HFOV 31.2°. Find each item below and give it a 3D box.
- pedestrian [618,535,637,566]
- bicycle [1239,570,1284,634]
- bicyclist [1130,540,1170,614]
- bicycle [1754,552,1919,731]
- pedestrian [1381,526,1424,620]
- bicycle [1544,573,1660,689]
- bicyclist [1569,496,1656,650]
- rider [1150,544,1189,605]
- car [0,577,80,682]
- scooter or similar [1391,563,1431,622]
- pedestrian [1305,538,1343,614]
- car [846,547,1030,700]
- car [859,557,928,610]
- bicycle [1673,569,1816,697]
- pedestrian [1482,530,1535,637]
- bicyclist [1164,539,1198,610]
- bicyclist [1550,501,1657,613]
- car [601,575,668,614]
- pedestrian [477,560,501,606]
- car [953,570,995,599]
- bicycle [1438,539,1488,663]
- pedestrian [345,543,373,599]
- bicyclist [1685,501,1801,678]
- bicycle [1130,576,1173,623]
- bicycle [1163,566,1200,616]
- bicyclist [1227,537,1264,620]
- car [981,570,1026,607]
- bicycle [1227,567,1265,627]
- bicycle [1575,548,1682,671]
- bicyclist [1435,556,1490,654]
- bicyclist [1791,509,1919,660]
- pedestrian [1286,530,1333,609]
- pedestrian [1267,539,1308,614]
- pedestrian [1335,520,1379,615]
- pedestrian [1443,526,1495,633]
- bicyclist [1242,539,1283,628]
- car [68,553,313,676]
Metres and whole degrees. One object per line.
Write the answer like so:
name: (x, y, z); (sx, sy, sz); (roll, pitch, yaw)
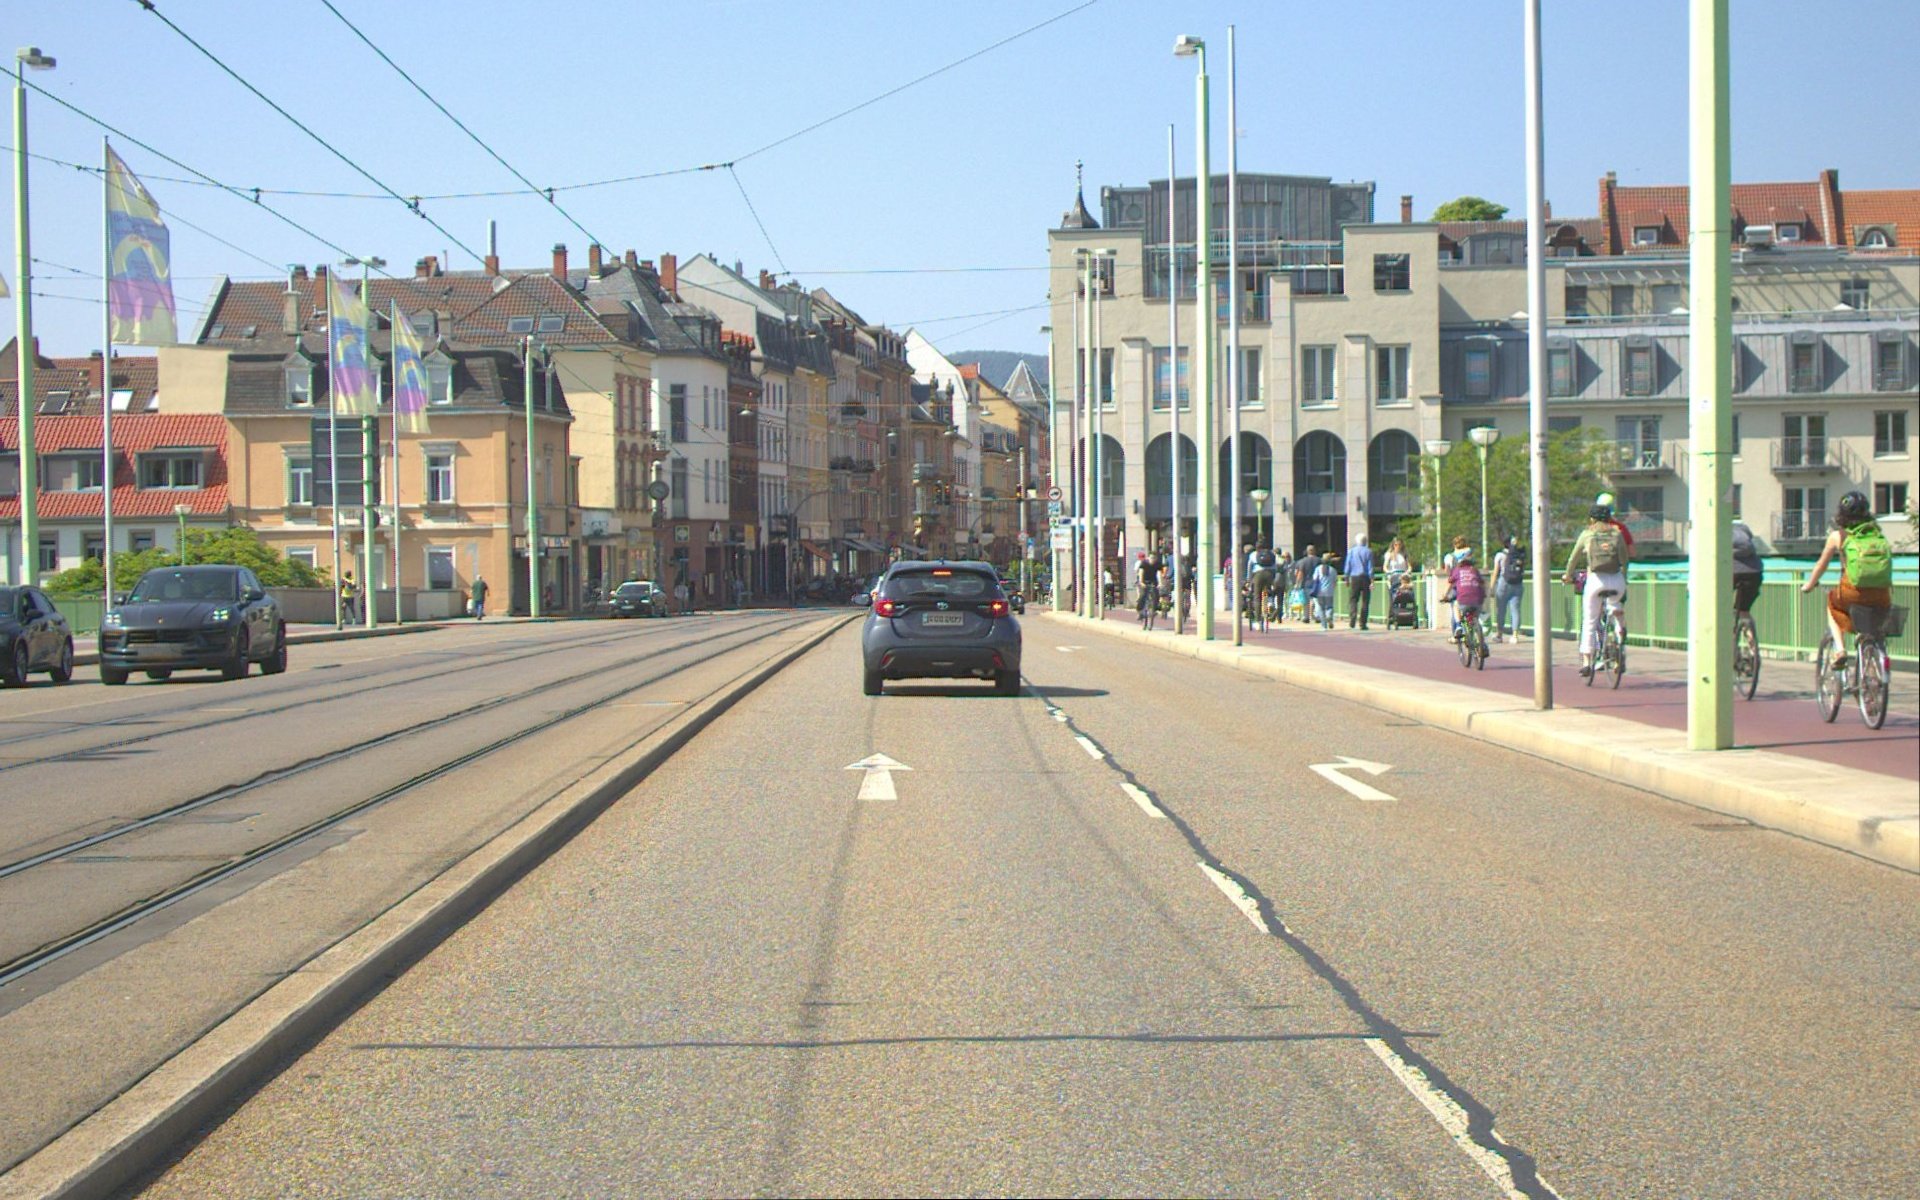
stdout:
pedestrian: (-15.139, -2.234, 156.412); (0.763, 1.393, 0.663); (-1, 1, 2)
bicycle: (5.714, 0.033, 65.179); (0.593, 1.174, 1.940); (-1, 1, -2)
bicyclist: (4.083, -0.493, 73.871); (0.653, 1.561, 1.338); (-2, 0, -3)
bicycle: (6.328, 0.271, 24.351); (0.695, 1.189, 2.080); (-3, 1, -6)
pedestrian: (8.353, -0.519, 64.896); (0.641, 1.750, 0.867); (-1, 1, -3)
bicycle: (6.043, 0.272, 32.455); (0.618, 1.034, 2.051); (-1, 1, -3)
bicyclist: (7.017, -0.296, 36.996); (0.735, 1.630, 0.867); (-1, 1, -3)
rider: (5.272, -0.647, 86.583); (0.889, 1.499, 0.841); (-1, 1, -2)
car: (-13.742, 0.389, 48.203); (1.758, 1.358, 4.384); (-1, 1, -1)
scooter or similar: (8.398, -0.145, 64.027); (0.588, 1.065, 0.865); (-1, 1, -3)
pedestrian: (7.071, -0.466, 66.773); (0.613, 1.460, 0.848); (-1, 1, -1)
car: (-0.304, 0.222, 38.971); (1.910, 1.535, 4.001); (-1, 2, -2)
car: (-1.982, -0.516, 101.755); (1.803, 1.464, 4.001); (-2, 1, -3)
bicycle: (6.770, 0.265, 29.776); (0.618, 1.034, 2.267); (-1, 1, -3)
pedestrian: (8.214, -0.255, 51.512); (0.599, 1.580, 0.867); (-1, 1, -3)
bicyclist: (5.302, -0.620, 82.411); (0.715, 1.670, 0.869); (-1, 1, -2)
bicyclist: (6.047, -0.406, 32.368); (0.735, 1.027, 1.175); (-1, 1, -3)
car: (-12.758, -0.228, 134.974); (1.994, 1.474, 4.000); (-1, 1, 4)
pedestrian: (-17.339, -0.624, 126.466); (0.763, 1.659, 0.663); (-1, 1, 2)
car: (0.750, -0.819, 180.053); (1.878, 1.404, 4.000); (0, 1, 4)
bicycle: (5.765, -0.008, 39.352); (0.534, 1.362, 2.215); (0, 1, 9)
pedestrian: (-19.498, -0.946, 111.510); (0.763, 1.780, 0.663); (-1, 1, 2)
bicyclist: (6.753, -0.099, 29.679); (0.735, 1.495, 0.980); (-1, 1, -3)
bicycle: (4.109, -0.010, 73.811); (0.653, 0.978, 2.178); (-2, 0, -3)
bicycle: (5.308, -0.220, 82.484); (0.666, 1.174, 2.029); (-1, 1, -2)
bicyclist: (5.791, -0.441, 69.701); (0.627, 1.683, 0.869); (-1, 1, -2)
car: (1.845, -0.491, 145.208); (1.804, 1.464, 4.000); (-2, 1, 1)
bicycle: (5.798, -0.071, 69.774); (0.526, 1.174, 2.029); (-1, 1, -2)
bicycle: (7.148, 0.083, 36.850); (0.618, 1.266, 2.216); (-1, 1, -3)
bicyclist: (5.766, 0.049, 39.421); (0.599, 1.098, 0.852); (0, 1, 9)
bicyclist: (6.354, -0.117, 24.325); (0.666, 1.041, 0.980); (-1, 1, -2)
pedestrian: (7.813, -0.681, 76.961); (0.929, 1.755, 0.938); (-1, 1, -1)
pedestrian: (7.484, -0.539, 78.646); (0.834, 1.683, 0.869); (-1, 1, -1)
pedestrian: (7.605, -0.628, 65.858); (0.712, 1.804, 0.848); (-1, 1, -1)
pedestrian: (7.619, -0.309, 51.477); (0.599, 1.580, 0.867); (-1, 1, -3)
bicyclist: (5.719, -0.311, 65.040); (0.656, 1.670, 0.869); (-1, 1, -3)
car: (-10.580, 0.165, 47.587); (1.994, 1.594, 4.337); (0, 1, 6)
